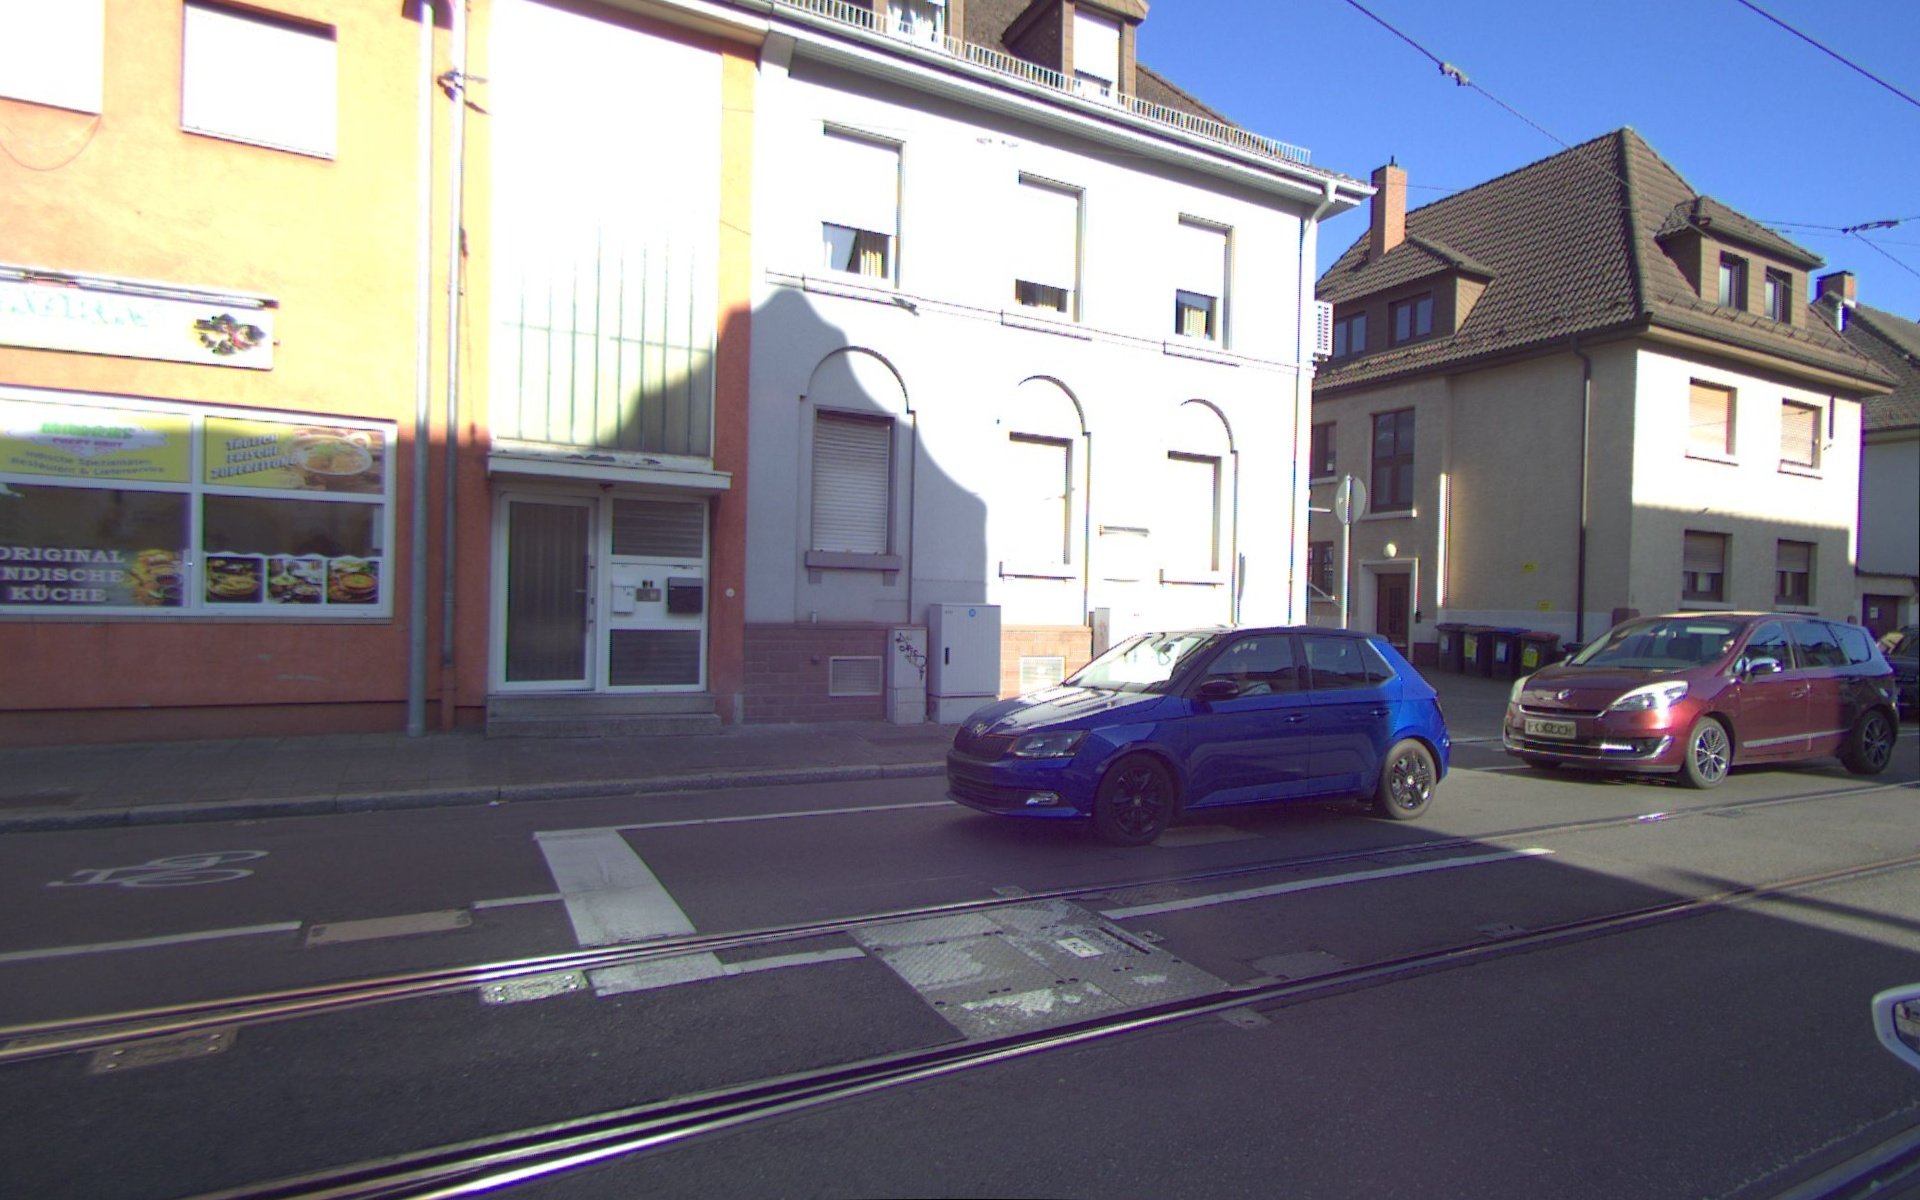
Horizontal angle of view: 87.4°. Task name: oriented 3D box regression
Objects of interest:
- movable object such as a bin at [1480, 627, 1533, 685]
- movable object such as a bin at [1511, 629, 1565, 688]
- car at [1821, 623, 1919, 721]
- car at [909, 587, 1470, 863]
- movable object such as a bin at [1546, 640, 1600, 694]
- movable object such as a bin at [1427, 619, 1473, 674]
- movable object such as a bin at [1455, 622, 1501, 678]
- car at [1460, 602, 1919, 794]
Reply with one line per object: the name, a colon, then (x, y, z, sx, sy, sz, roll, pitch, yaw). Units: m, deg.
movable object such as a bin: (11.259, 1.147, 20.690, 0.664, 1.126, 0.639, 1, 3, -27)
movable object such as a bin: (11.543, 1.163, 20.079, 0.664, 1.094, 0.613, 1, 3, -27)
car: (17.791, 1.290, 18.545, 3.873, 1.649, 1.609, 2, -1, -28)
car: (1.731, 0.789, 7.437, 3.877, 1.588, 1.678, 1, -2, -26)
movable object such as a bin: (11.914, 1.296, 19.531, 0.575, 0.957, 0.655, 1, 3, -27)
movable object such as a bin: (10.647, 1.006, 21.851, 0.583, 1.126, 0.612, 1, 3, -27)
movable object such as a bin: (10.966, 1.060, 21.263, 0.583, 1.126, 0.567, 1, 3, -27)
car: (7.512, 0.904, 10.256, 4.647, 1.632, 1.734, 2, -1, -23)
